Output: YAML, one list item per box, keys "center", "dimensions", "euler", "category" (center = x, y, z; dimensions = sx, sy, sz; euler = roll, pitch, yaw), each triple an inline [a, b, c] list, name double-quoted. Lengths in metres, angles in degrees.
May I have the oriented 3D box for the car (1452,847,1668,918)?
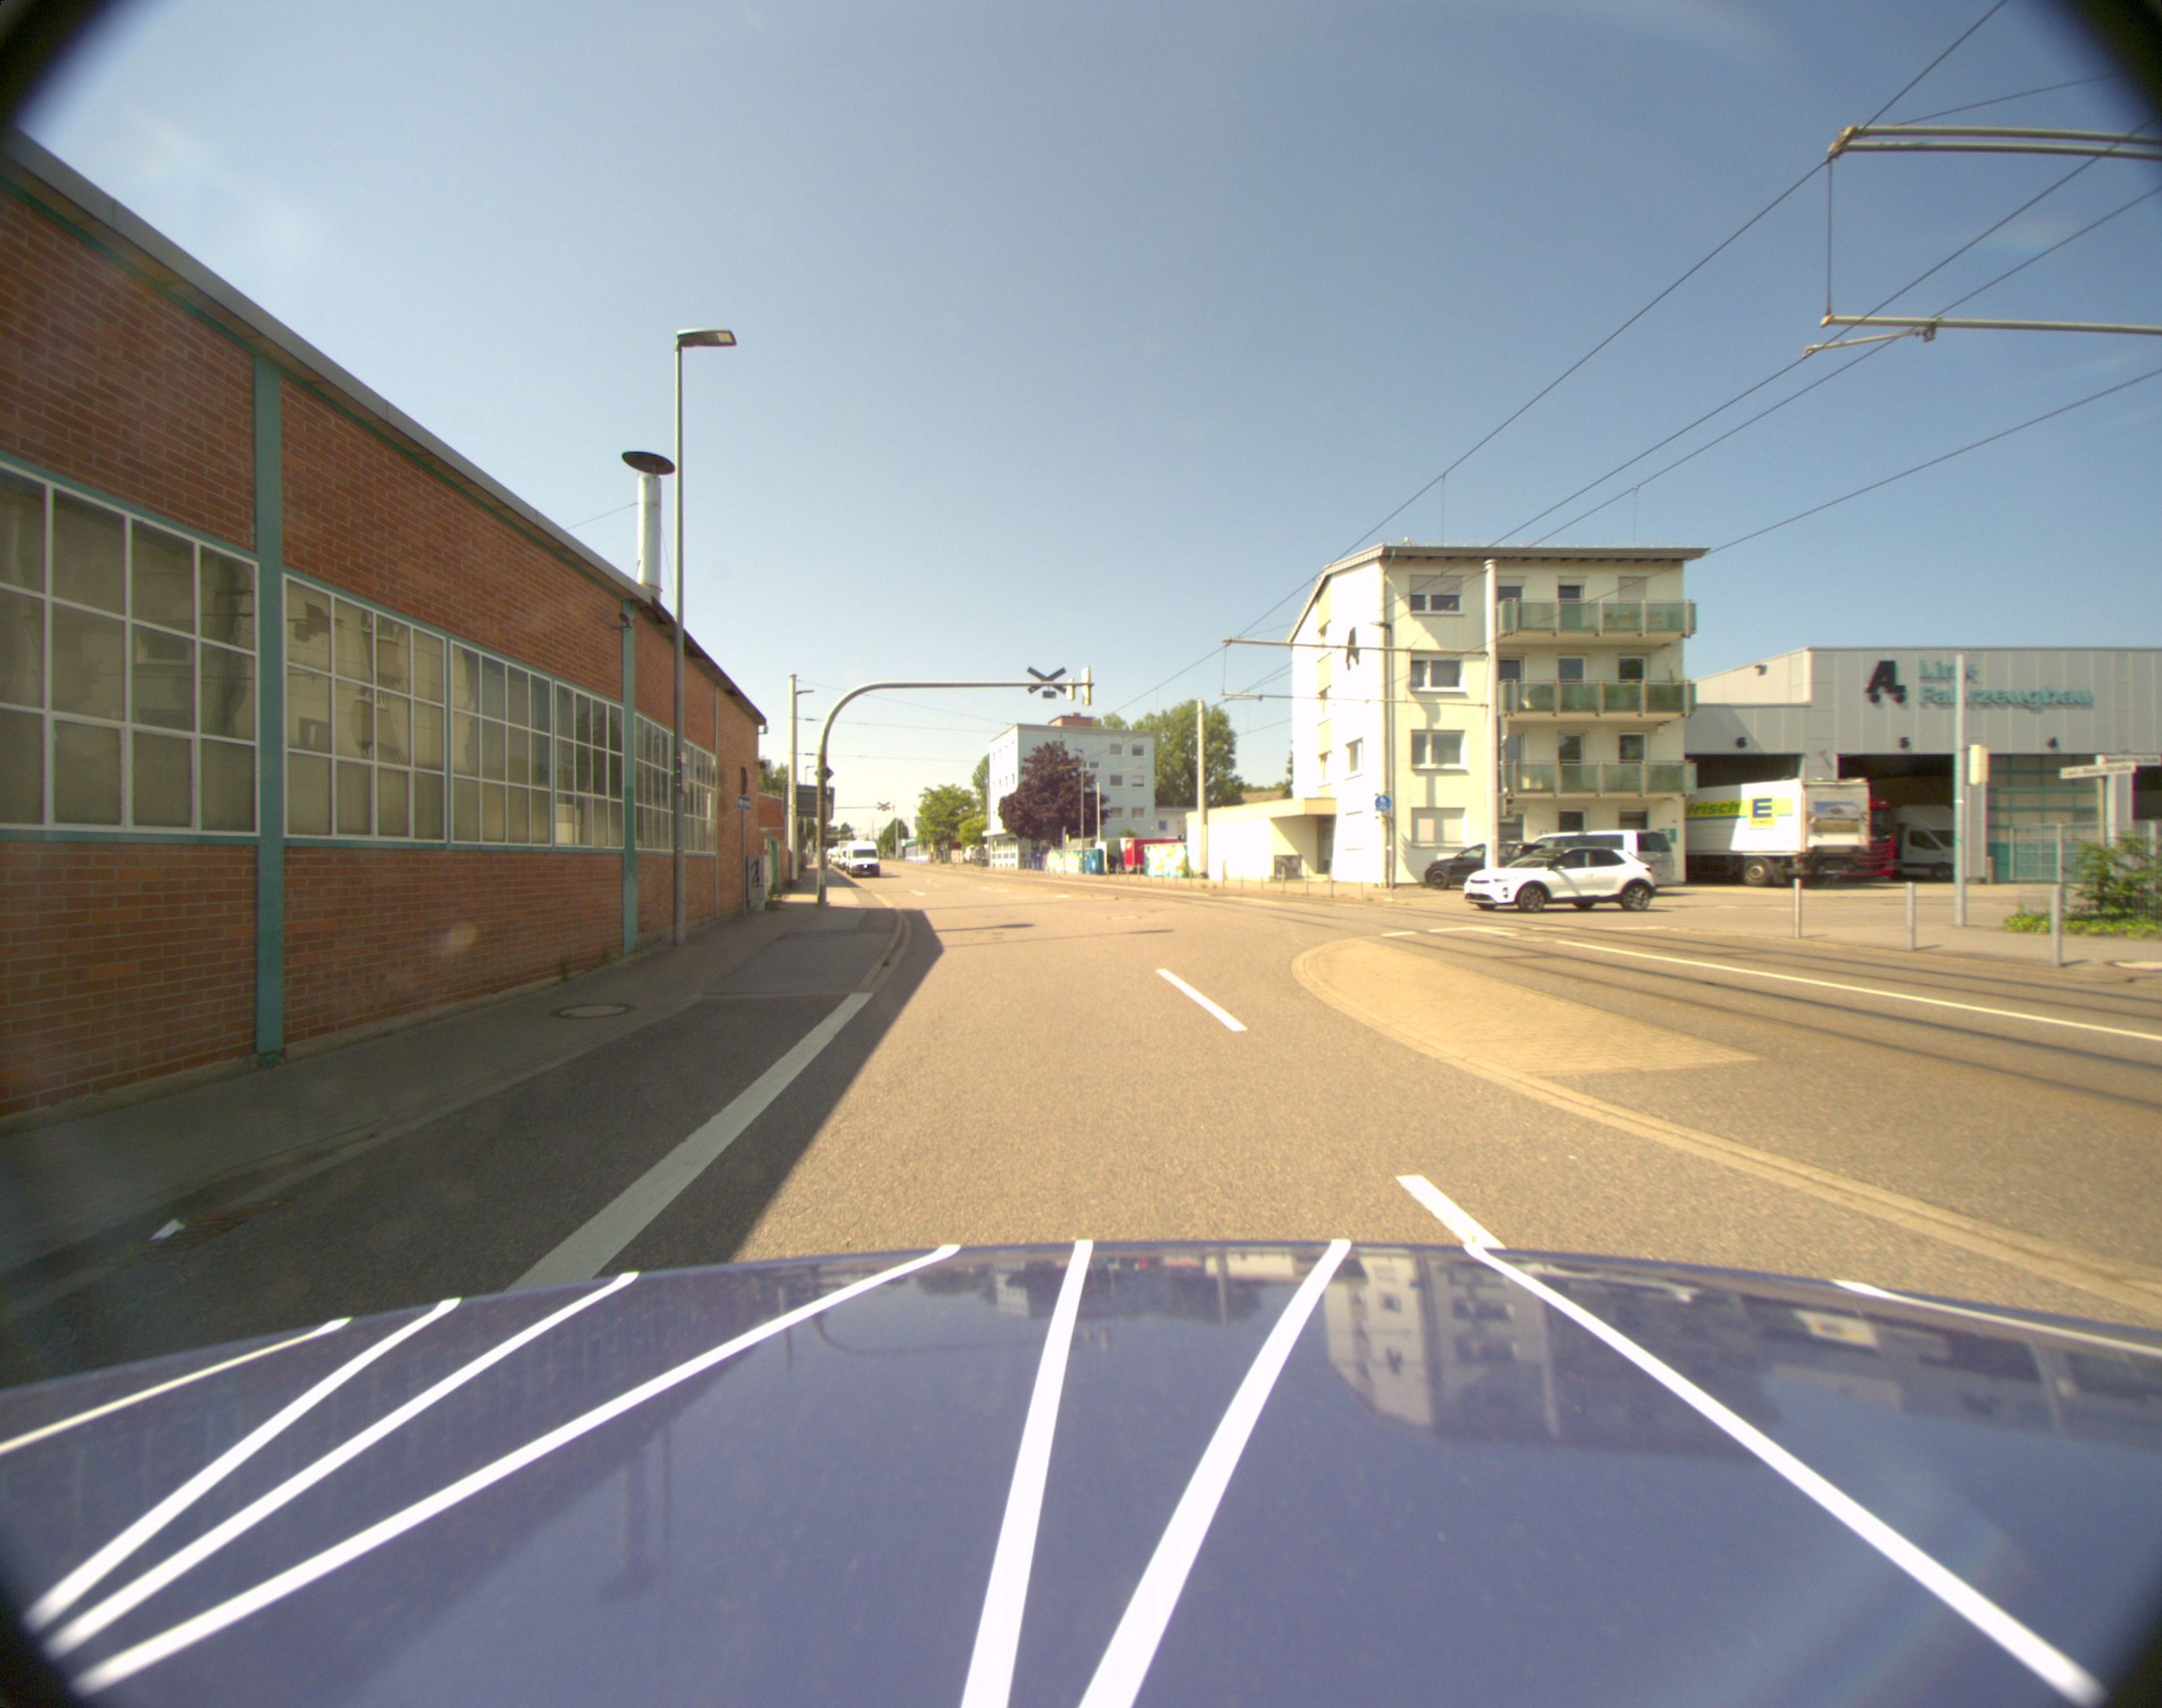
- center: [11.181, 0.623, 17.876]
  dimensions: [4.108, 1.521, 1.736]
  euler: [-1, 1, -6]
  category: "car"

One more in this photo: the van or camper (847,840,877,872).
- center: [-18.026, 0.166, 62.275]
  dimensions: [2.046, 2.519, 5.572]
  euler: [-1, 0, -19]
  category: "van or camper"

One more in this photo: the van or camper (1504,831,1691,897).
- center: [16.142, 0.257, 24.072]
  dimensions: [2.002, 1.897, 4.547]
  euler: [0, 1, -21]
  category: "van or camper"

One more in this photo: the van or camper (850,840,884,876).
- center: [-15.738, 0.274, 55.690]
  dimensions: [2.046, 2.519, 5.859]
  euler: [-1, 0, -19]
  category: "van or camper"

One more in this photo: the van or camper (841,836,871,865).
- center: [-22.809, -0.350, 76.820]
  dimensions: [2.527, 2.770, 7.103]
  euler: [-1, 0, -20]
  category: "van or camper"

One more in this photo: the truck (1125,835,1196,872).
- center: [5.908, -0.057, 56.929]
  dimensions: [4.836, 2.611, 2.186]
  euler: [-1, 1, -14]
  category: "truck"

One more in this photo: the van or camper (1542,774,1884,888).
- center: [23.976, -0.878, 30.364]
  dimensions: [2.781, 3.672, 11.626]
  euler: [0, 1, -8]
  category: "van or camper"

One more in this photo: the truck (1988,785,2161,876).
- center: [46.059, -1.008, 33.539]
  dimensions: [2.623, 3.760, 7.860]
  euler: [0, 1, 0]
  category: "truck"

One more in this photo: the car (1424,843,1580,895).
- center: [13.216, 0.429, 24.095]
  dimensions: [1.883, 1.512, 3.965]
  euler: [-1, 0, -26]
  category: "car"

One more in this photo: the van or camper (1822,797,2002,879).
- center: [35.075, -0.623, 32.341]
  dimensions: [1.999, 3.187, 5.058]
  euler: [-1, 0, -3]
  category: "van or camper"
